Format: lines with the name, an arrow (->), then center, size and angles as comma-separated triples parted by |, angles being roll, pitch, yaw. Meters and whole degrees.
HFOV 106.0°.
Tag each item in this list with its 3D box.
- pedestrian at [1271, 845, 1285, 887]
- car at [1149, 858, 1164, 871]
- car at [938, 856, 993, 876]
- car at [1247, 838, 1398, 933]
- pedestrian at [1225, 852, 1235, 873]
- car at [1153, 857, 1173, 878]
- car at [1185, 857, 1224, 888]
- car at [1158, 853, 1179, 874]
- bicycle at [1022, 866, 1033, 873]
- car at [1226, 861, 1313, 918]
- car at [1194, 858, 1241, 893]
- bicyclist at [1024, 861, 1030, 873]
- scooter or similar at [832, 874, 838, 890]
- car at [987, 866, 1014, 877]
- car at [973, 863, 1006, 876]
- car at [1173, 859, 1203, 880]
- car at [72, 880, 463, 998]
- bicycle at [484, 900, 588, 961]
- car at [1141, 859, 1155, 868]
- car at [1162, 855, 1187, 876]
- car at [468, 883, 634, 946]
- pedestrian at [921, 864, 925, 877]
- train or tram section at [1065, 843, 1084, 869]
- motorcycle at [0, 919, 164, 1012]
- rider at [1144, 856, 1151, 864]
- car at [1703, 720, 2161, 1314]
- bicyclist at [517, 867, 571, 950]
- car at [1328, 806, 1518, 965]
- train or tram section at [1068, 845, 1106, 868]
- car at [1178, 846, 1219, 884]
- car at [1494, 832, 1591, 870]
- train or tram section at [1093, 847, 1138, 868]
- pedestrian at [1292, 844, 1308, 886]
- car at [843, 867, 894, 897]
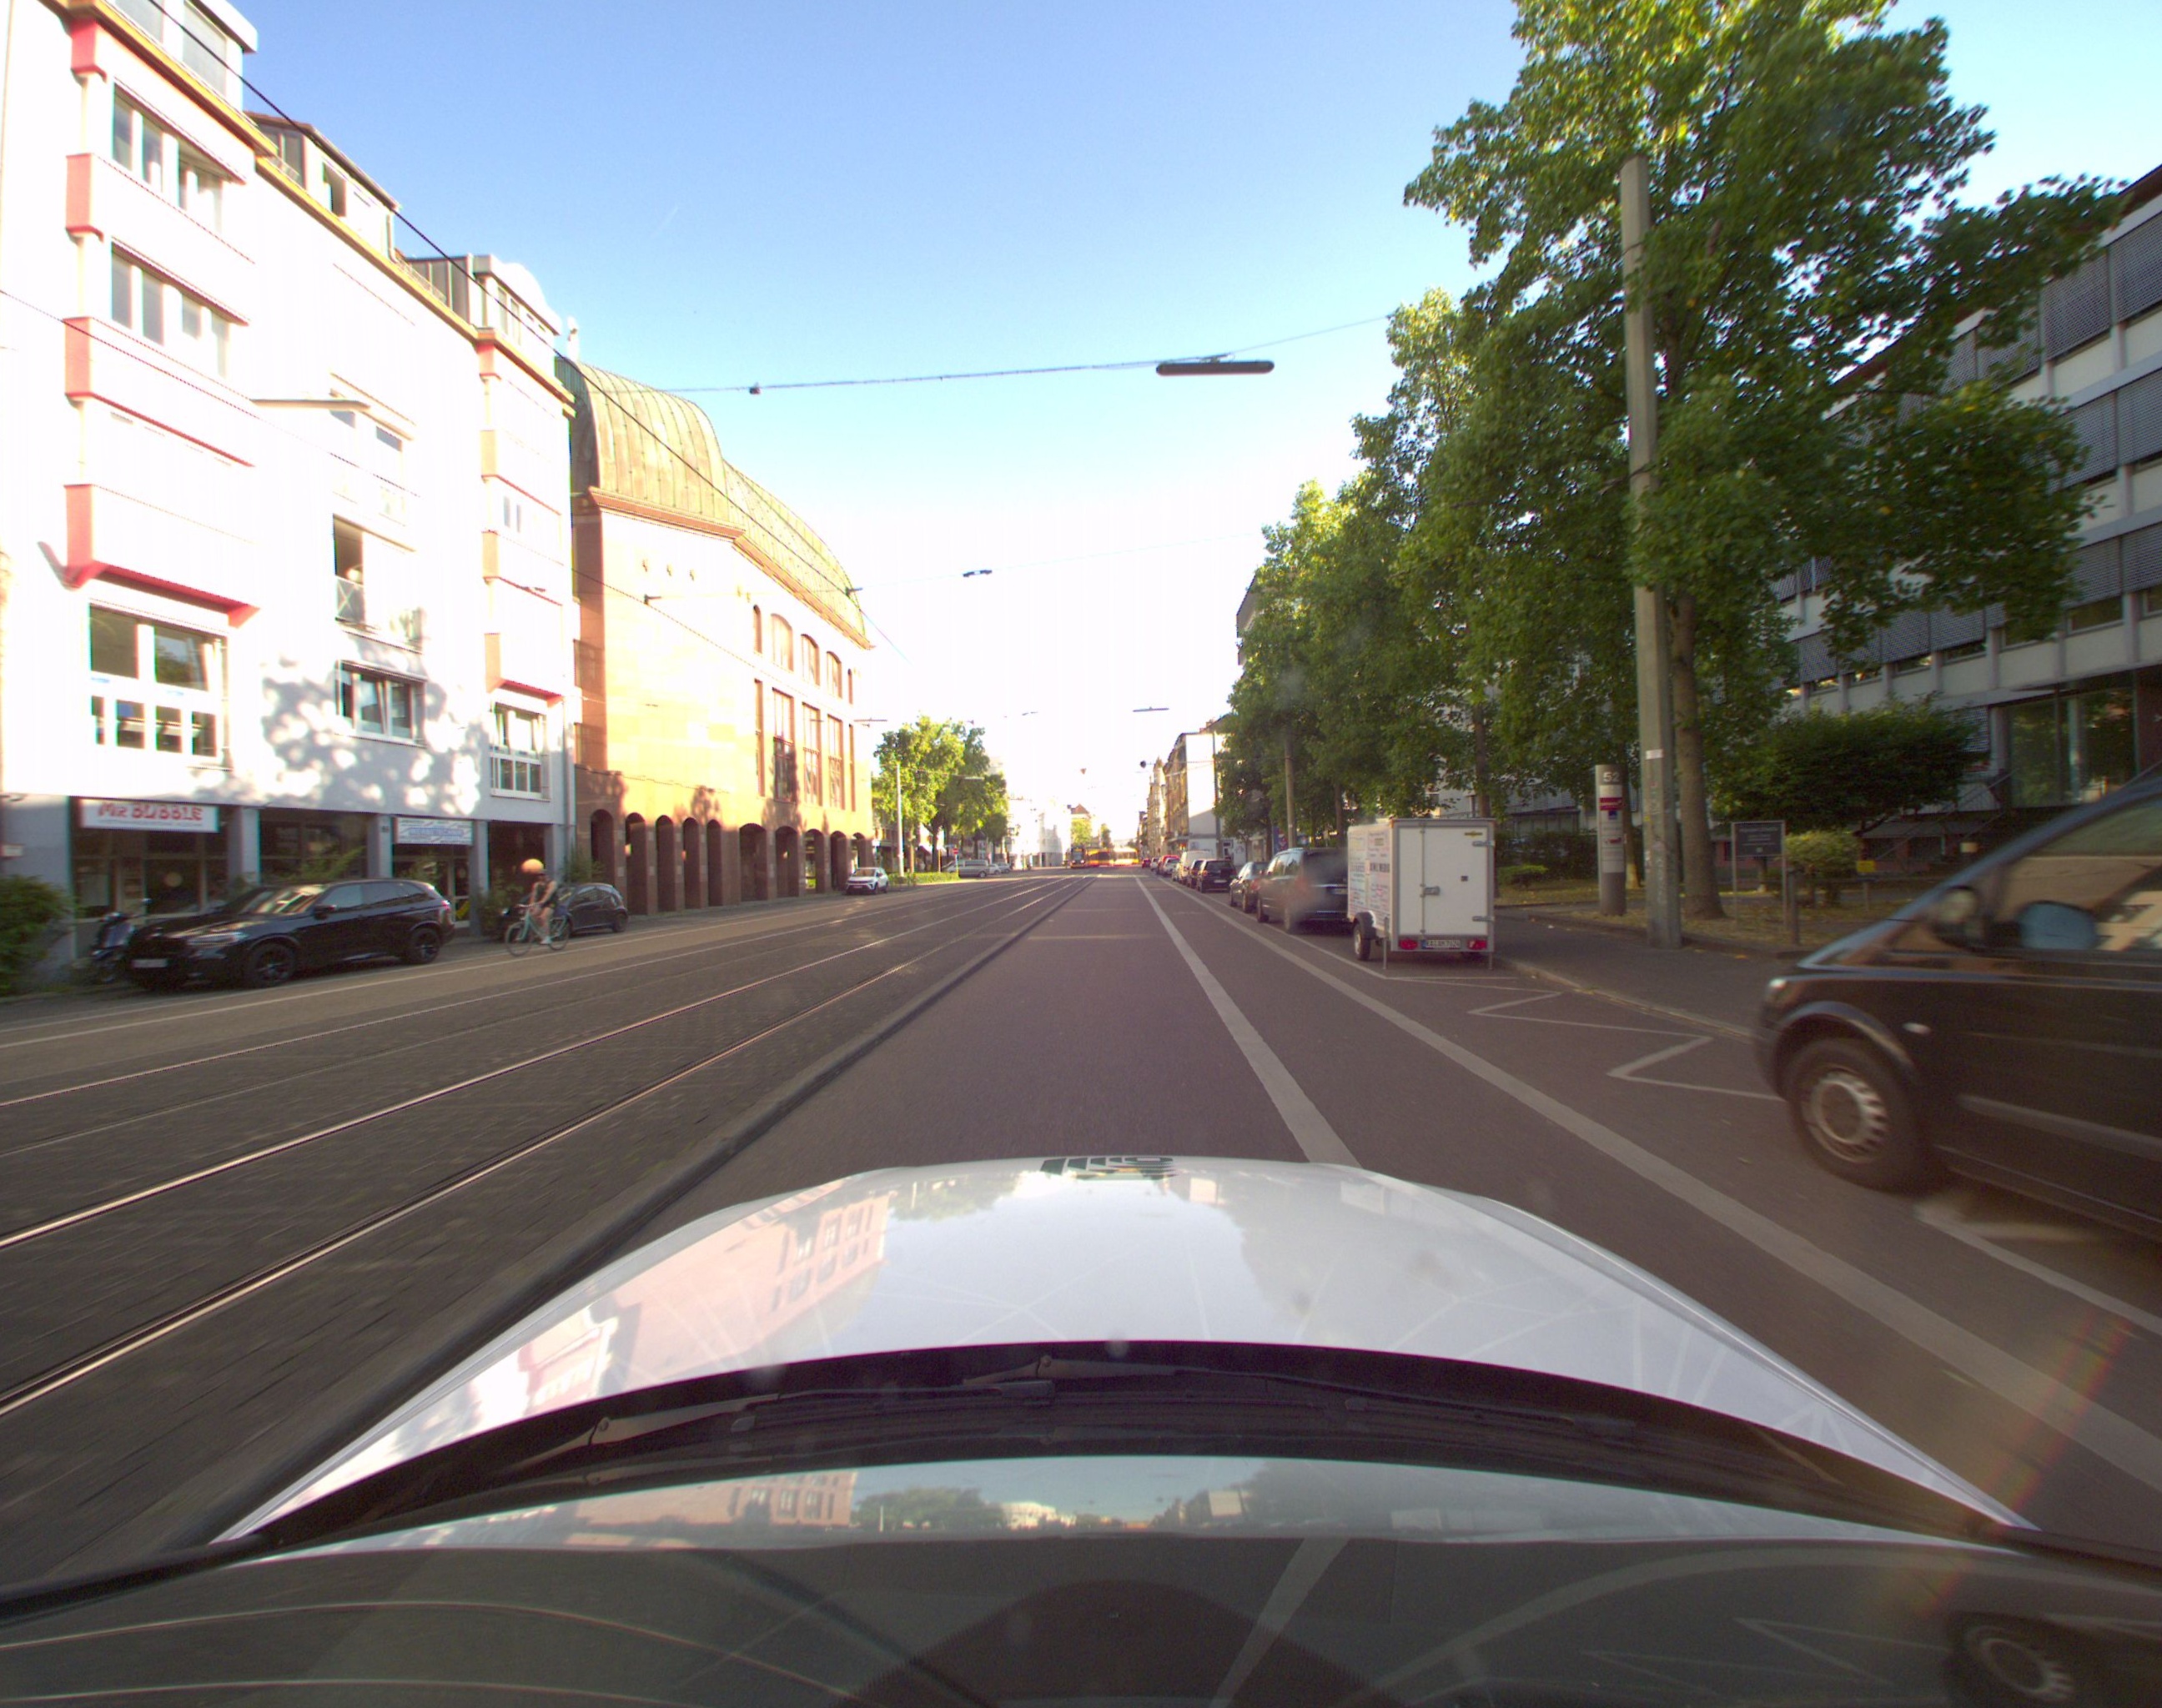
pedestrian -> 8.273, 0.506, 34.206 | 0.422, 1.709, 0.456 | -4, 3, 21
car -> 9.235, 1.281, 99.460 | 1.614, 1.555, 4.085 | 0, 0, 2
car -> -12.276, 1.330, 86.703 | 5.284, 2.043, 2.396 | 1, -2, -29
car -> 5.098, 0.613, 18.006 | 1.942, 1.788, 5.183 | 0, 0, 2
pedestrian -> 12.690, 0.716, 69.317 | 0.658, 1.722, 0.835 | -1, -1, 4
car -> 7.745, 1.262, 77.046 | 1.614, 2.006, 3.833 | 0, 0, 2
car -> 6.333, 0.921, 41.996 | 1.614, 1.474, 3.974 | -1, 0, 3
car -> 7.765, 0.830, 72.670 | 1.614, 1.813, 4.085 | 0, 0, 2
bicycle -> -8.919, 2.600, 136.410 | 0.704, 1.239, 2.002 | 1, -1, -42
car -> 5.534, 0.996, 24.455 | 1.709, 1.427, 4.678 | -1, 1, 2
car -> 6.069, 0.923, 36.538 | 1.614, 1.431, 3.988 | -1, 0, 3
bicyclist -> -9.000, 2.131, 136.444 | 0.704, 2.014, 0.715 | 1, -1, -40
scooter or similar -> -15.093, 1.690, 49.979 | 0.363, 0.938, 0.967 | 1, 0, -17
car -> -11.544, 2.482, 116.400 | 3.541, 1.481, 1.567 | 0, 0, -30
car -> -11.941, 2.045, 105.988 | 3.891, 1.627, 1.858 | 0, 0, -28
car -> 7.083, 0.998, 54.116 | 1.614, 1.370, 3.933 | 0, 0, 2
car -> -14.150, 1.366, 14.739 | 2.083, 1.713, 4.821 | 0, -1, 2
bicycle -> -11.581, 1.596, 17.416 | 0.580, 1.077, 2.188 | -4, -1, 4
car -> 10.342, 1.449, 126.130 | 2.057, 1.389, 4.228 | 1, 0, 3
car -> 7.594, 0.921, 66.578 | 1.716, 1.568, 4.085 | -2, 0, 2
car -> -14.083, 1.551, 21.905 | 1.860, 1.450, 3.589 | -1, -1, 6
pedestrian -> -16.162, 1.657, 83.432 | 0.363, 1.343, 0.480 | 1, -1, -17
train or tram section -> -0.947, 0.379, 130.675 | 2.682, 3.960, 12.093 | 1, 0, 1
motorcycle -> -15.788, 1.699, 12.816 | 0.670, 1.205, 2.130 | 0, -1, -14
rider -> 11.237, 1.002, 137.122 | 0.716, 1.481, 0.876 | 1, -1, -38
car -> 4.339, 0.507, 2.093 | 1.946, 1.869, 4.994 | 0, 0, 4
bicyclist -> -11.595, 1.157, 17.594 | 0.569, 1.712, 0.746 | -4, -1, 3
car -> 5.148, 0.454, 12.797 | 1.697, 2.120, 3.712 | -1, -1, 6
train or tram section -> 1.197, 0.465, 142.747 | 2.670, 3.878, 12.905 | 0, 0, 19
car -> 6.836, 0.645, 47.858 | 1.962, 2.014, 4.563 | -3, 0, 4
car -> 20.378, -0.142, 36.200 | 1.859, 1.494, 4.438 | -3, 1, 1
train or tram section -> 6.578, 0.657, 153.547 | 2.666, 3.752, 11.359 | 0, 0, 36
pedestrian -> 9.139, 0.469, 33.981 | 0.494, 1.710, 0.456 | -3, 2, 21
car -> -12.656, 1.616, 48.683 | 1.863, 1.600, 4.254 | -1, 0, 0
